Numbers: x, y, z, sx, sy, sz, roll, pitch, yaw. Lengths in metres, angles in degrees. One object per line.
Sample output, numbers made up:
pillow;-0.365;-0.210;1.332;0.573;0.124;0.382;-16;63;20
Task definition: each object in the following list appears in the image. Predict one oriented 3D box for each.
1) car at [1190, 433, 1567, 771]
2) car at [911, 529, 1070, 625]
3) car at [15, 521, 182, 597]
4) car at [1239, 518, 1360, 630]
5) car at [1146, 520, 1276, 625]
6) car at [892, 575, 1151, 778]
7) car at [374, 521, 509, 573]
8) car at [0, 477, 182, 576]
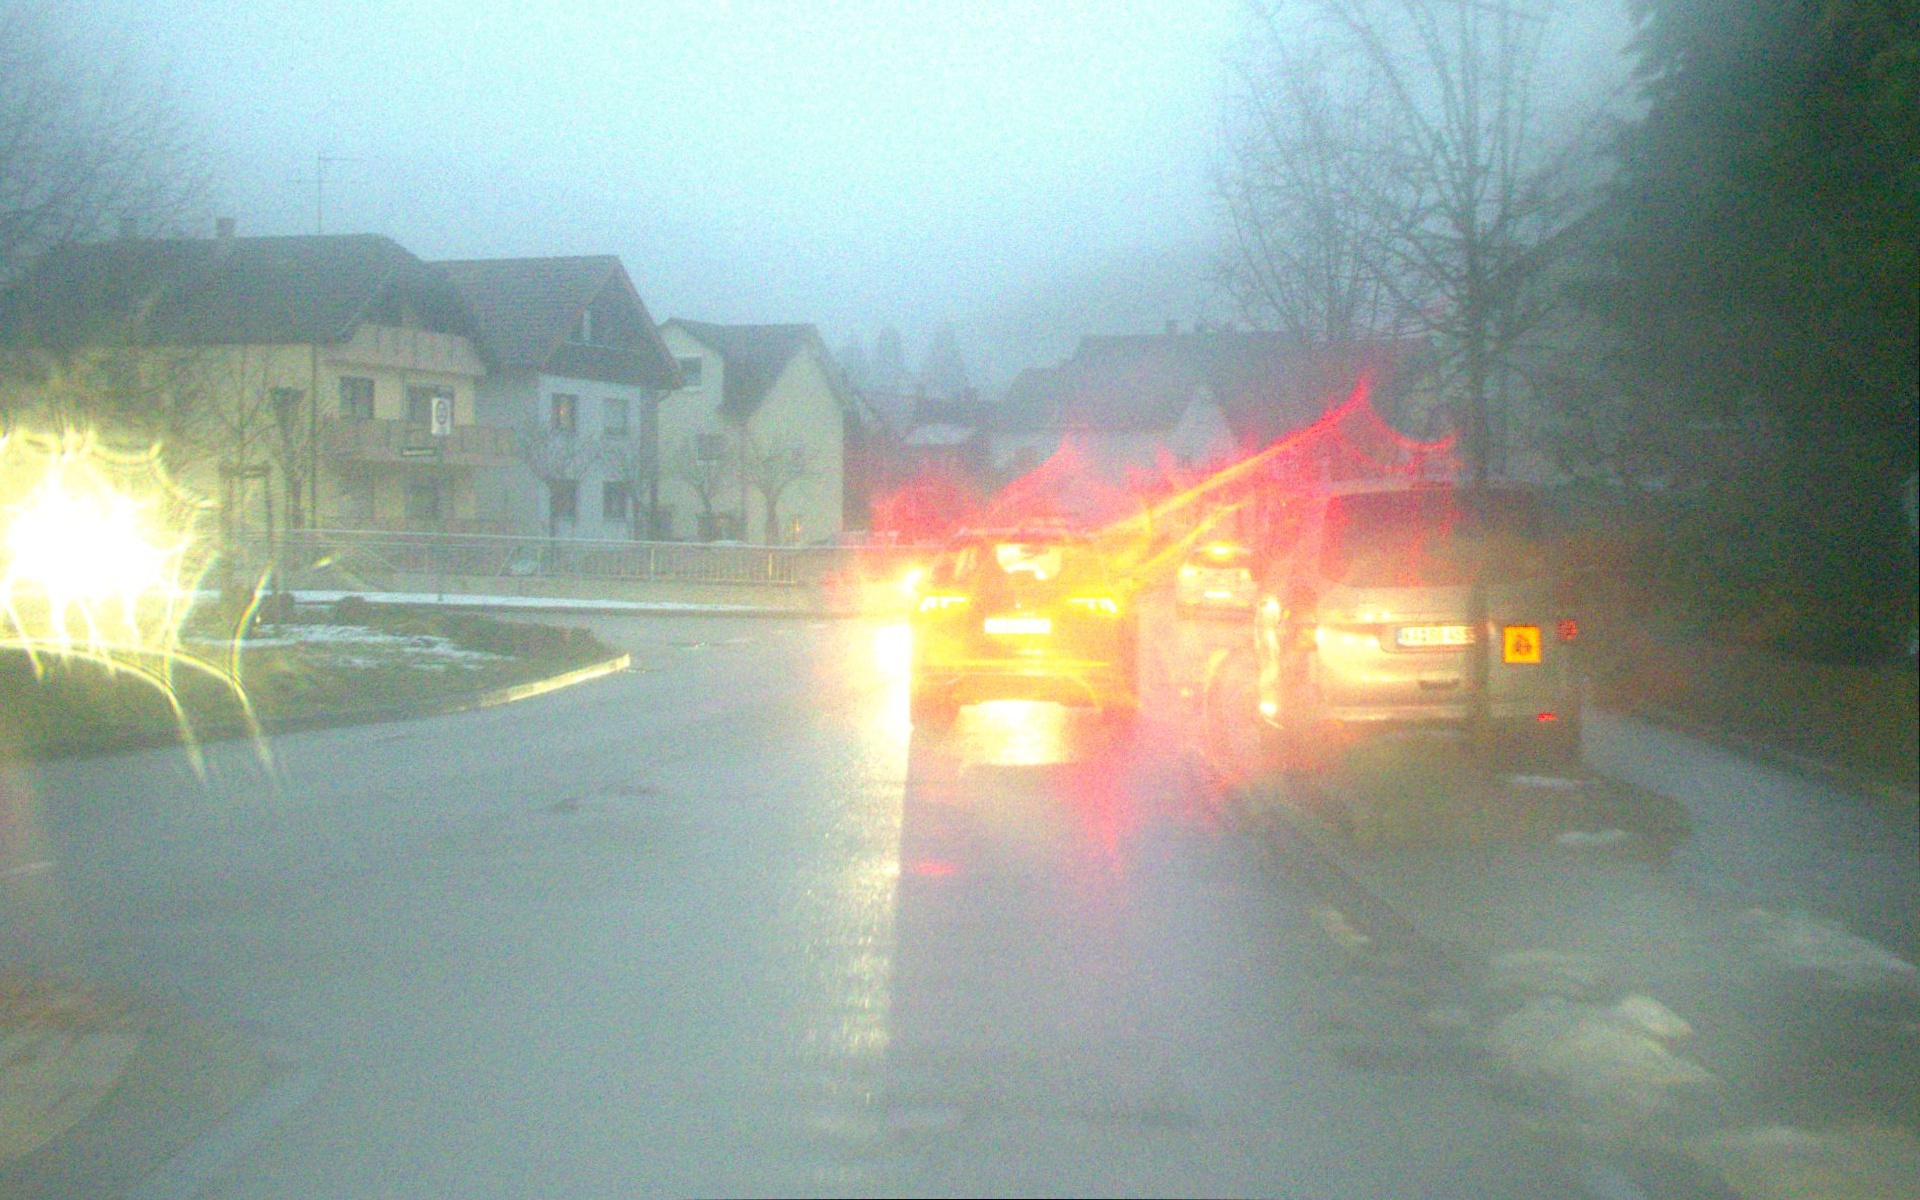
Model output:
car;2.743;-0.058;23.833;1.977;2.007;5.745;-2;1;1
car;0.555;-0.415;57.096;1.908;1.483;4.566;1;1;10
car;-17.183;-0.851;68.774;1.389;1.433;4.334;2;2;13
car;5.844;-0.484;58.828;1.745;1.779;4.334;-1;1;9
car;5.051;-0.536;68.711;1.995;2.007;3.998;1;0;12
car;0.463;0.582;28.841;1.993;1.520;4.000;1;1;-1
car;-13.887;-1.424;92.300;1.995;1.303;4.109;3;2;17
car;-18.717;-1.574;74.189;1.995;2.006;3.997;3;2;17
